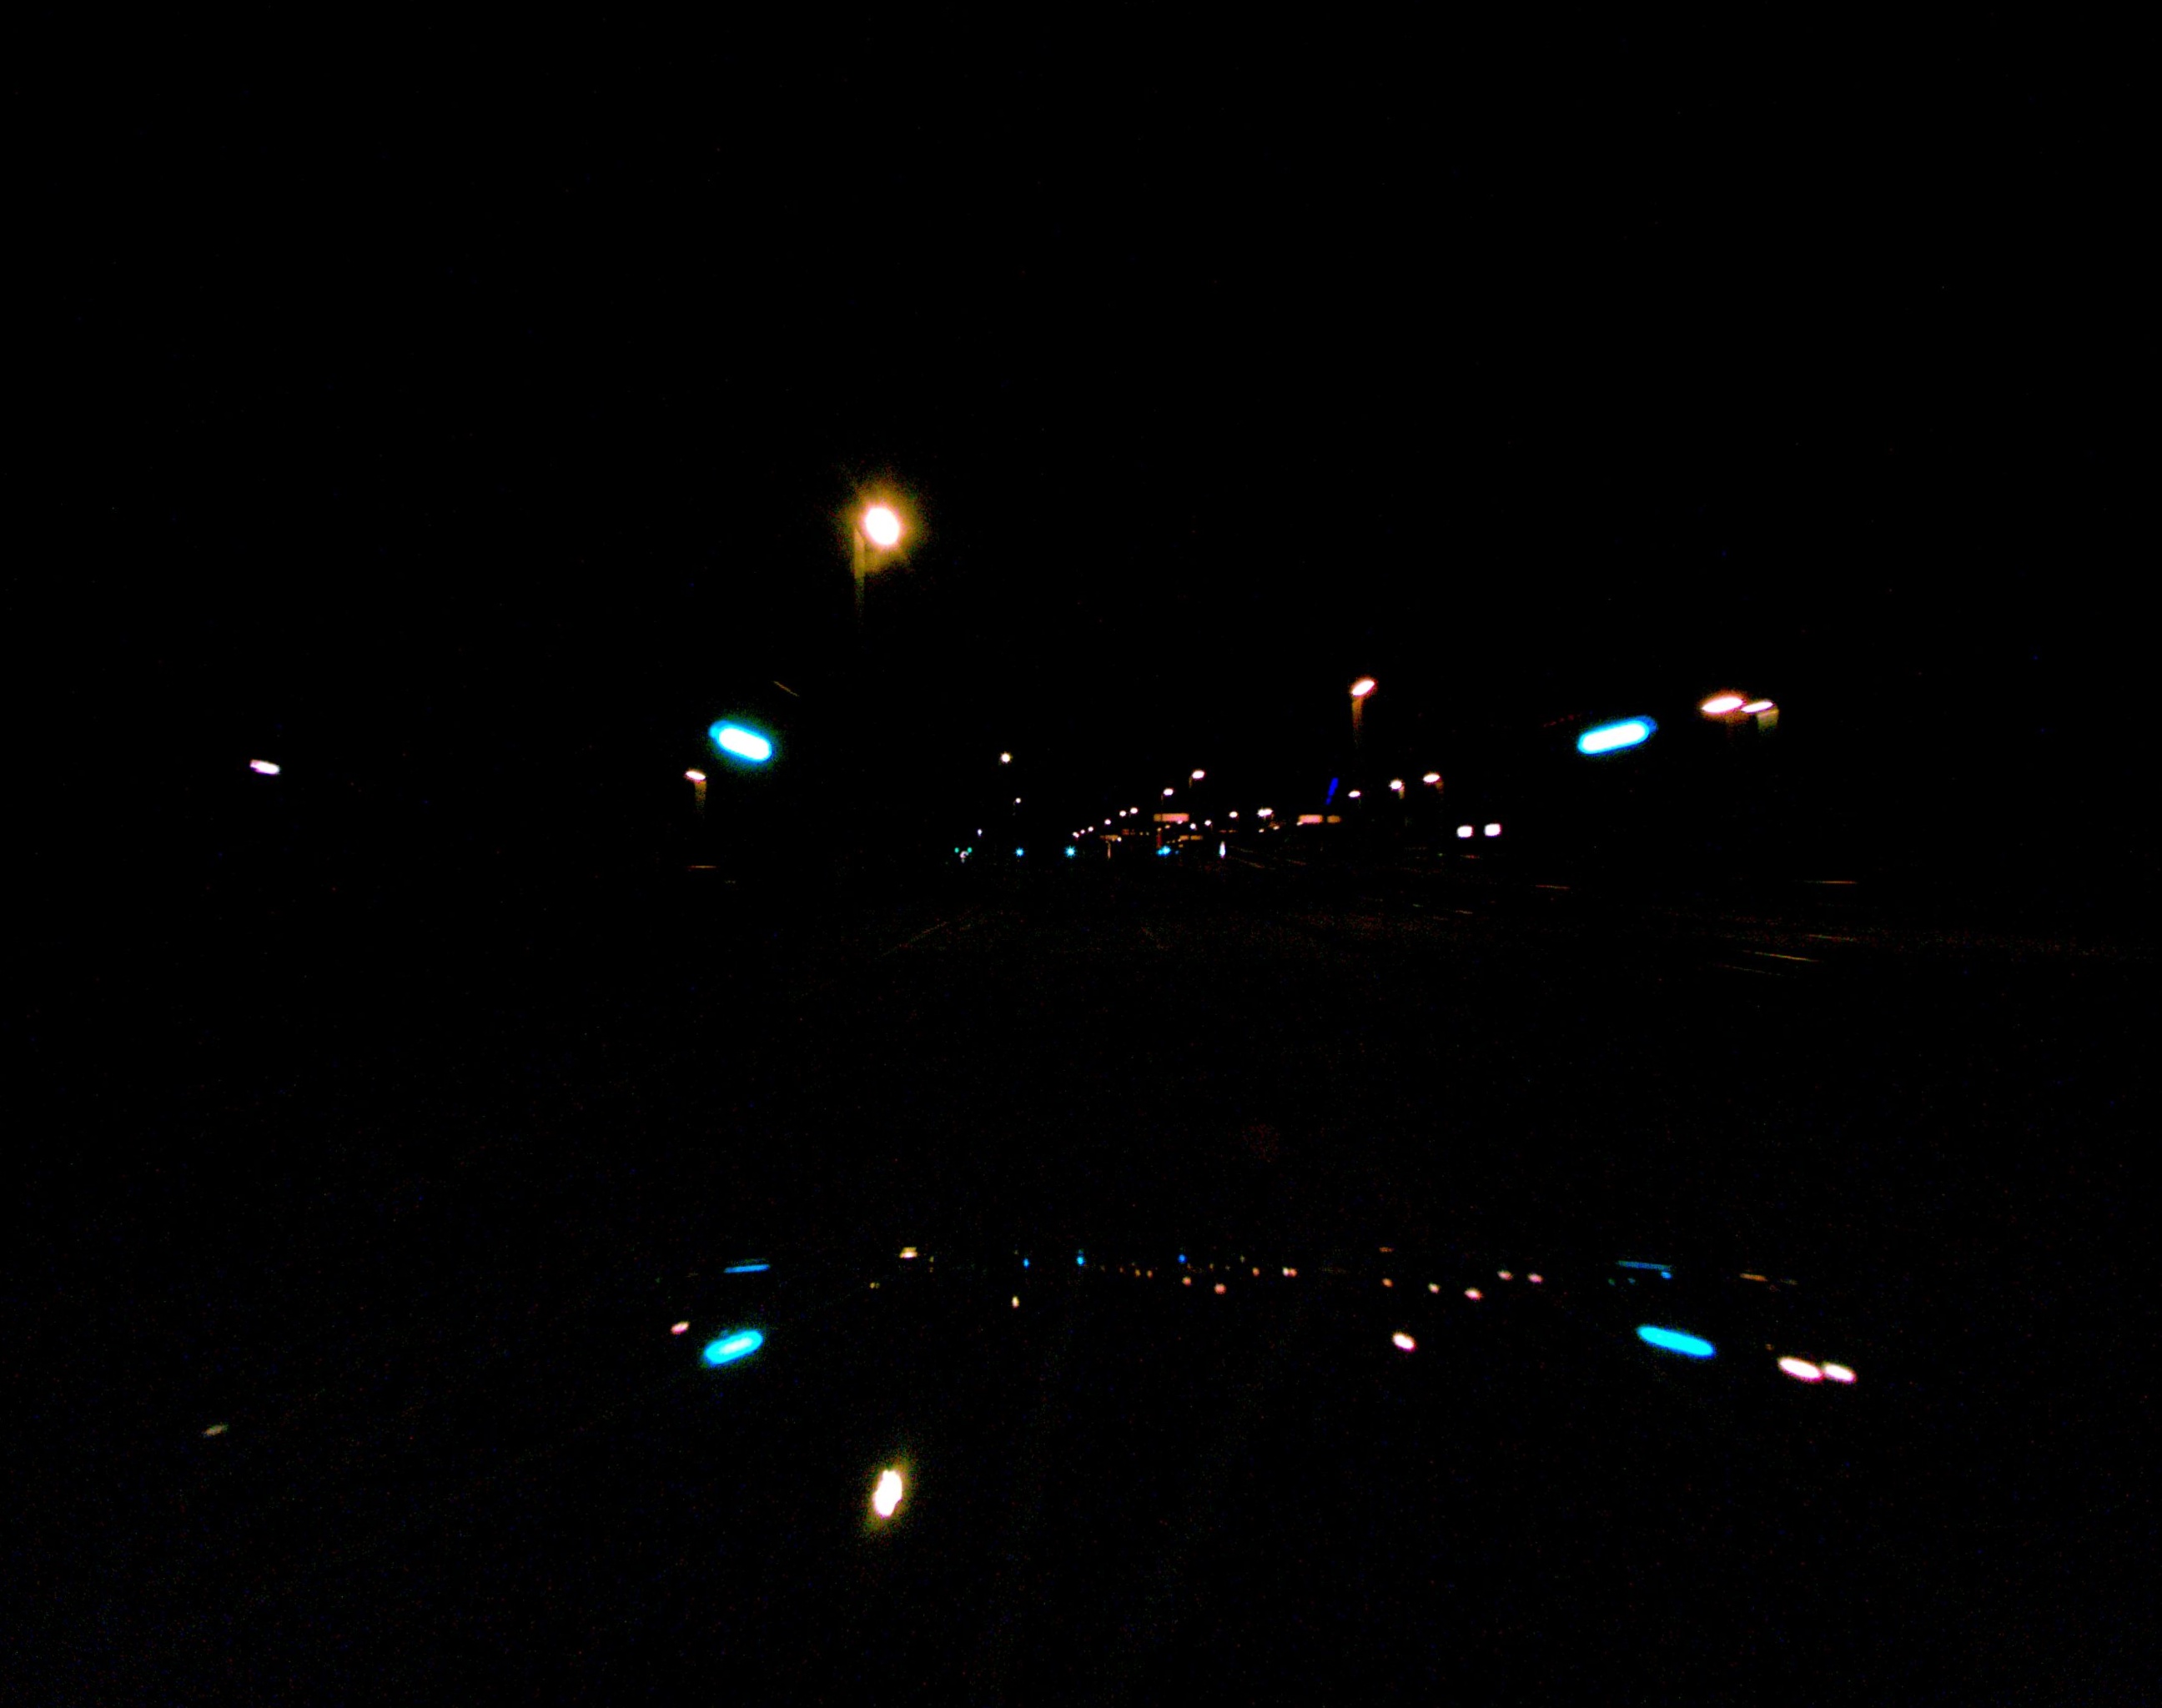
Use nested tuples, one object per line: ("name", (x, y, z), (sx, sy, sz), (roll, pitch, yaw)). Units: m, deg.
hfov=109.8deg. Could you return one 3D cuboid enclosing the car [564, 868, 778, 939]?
("car", (-9.167, 1.084, 17.227), (3.774, 1.346, 1.858), (-2, 1, 0))
